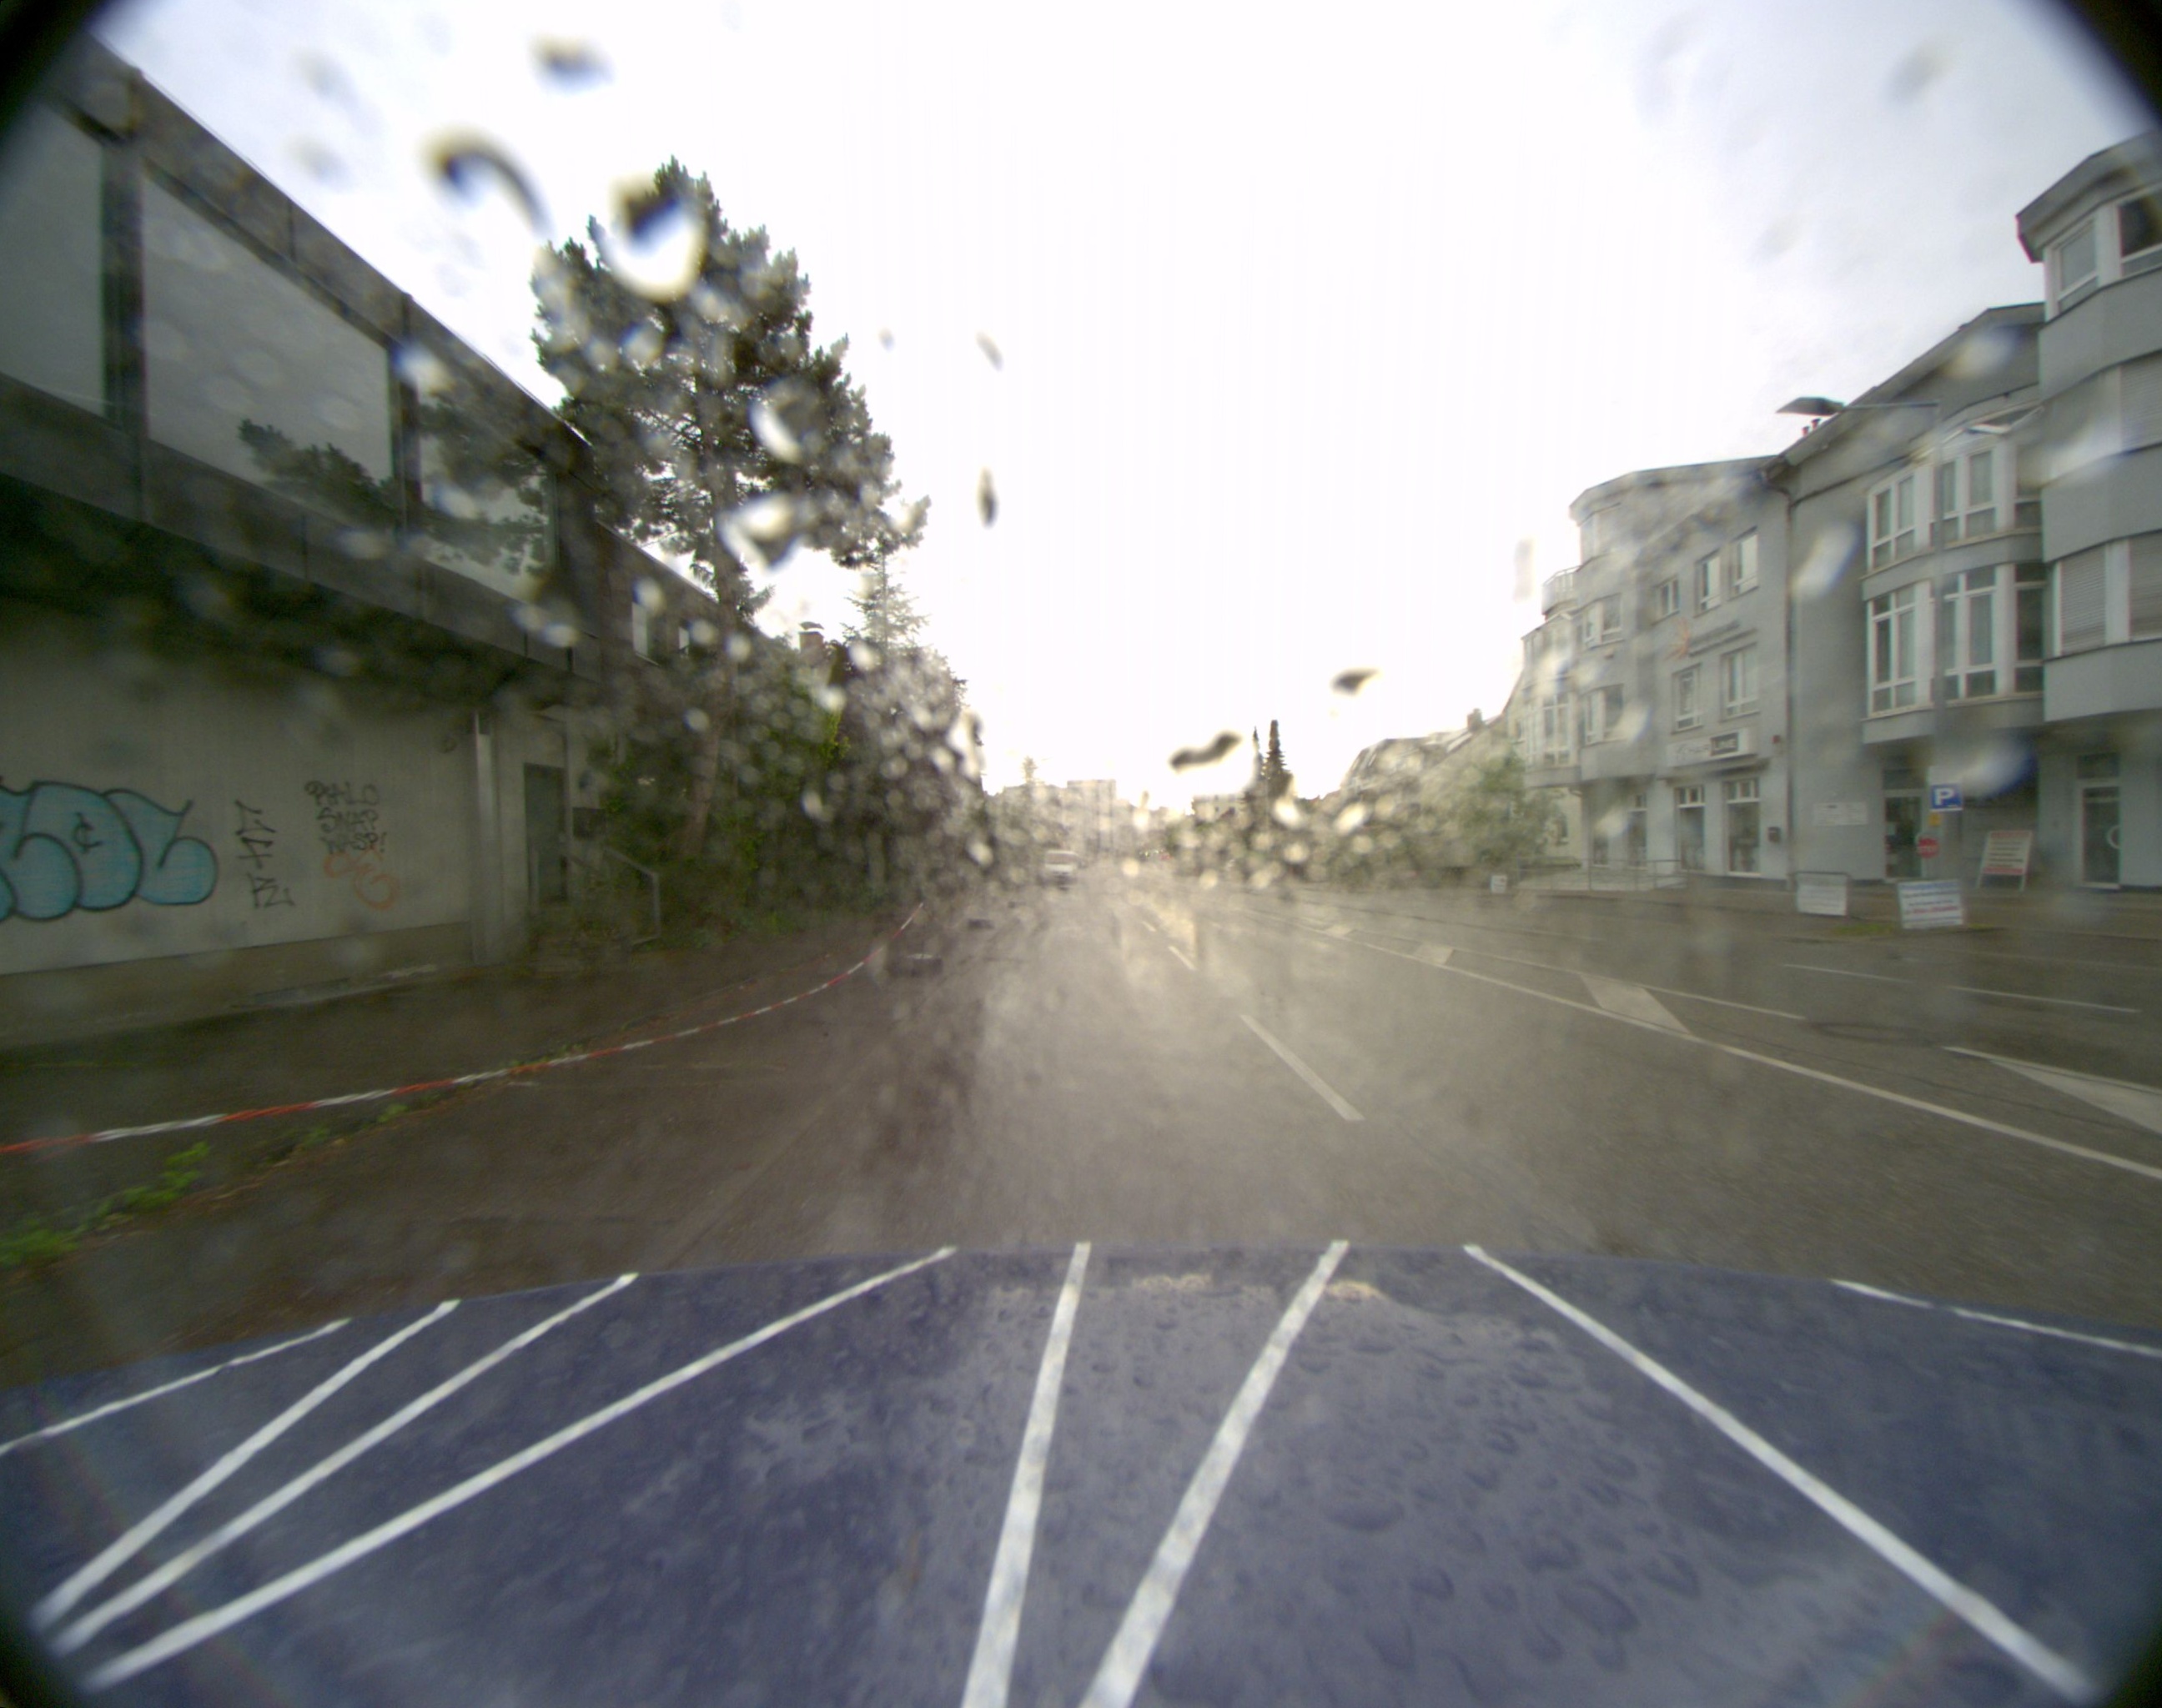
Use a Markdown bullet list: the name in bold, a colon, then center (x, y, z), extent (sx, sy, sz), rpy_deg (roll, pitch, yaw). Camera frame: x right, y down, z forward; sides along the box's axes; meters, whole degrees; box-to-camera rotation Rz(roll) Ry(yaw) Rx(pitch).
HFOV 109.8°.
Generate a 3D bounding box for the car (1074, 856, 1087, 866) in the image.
- **car**: center (-0.024, 1.208, 127.206), extent (1.912, 1.622, 3.703), rpy_deg (-1, 0, 4)

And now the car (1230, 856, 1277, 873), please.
- **car**: center (16.111, 0.957, 71.252), extent (4.034, 1.433, 1.813), rpy_deg (-3, 0, 5)

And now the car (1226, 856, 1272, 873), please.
- **car**: center (16.320, 0.979, 73.784), extent (4.155, 1.434, 1.891), rpy_deg (-3, 0, 7)

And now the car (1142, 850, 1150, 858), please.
- **car**: center (15.268, 0.059, 177.766), extent (1.851, 1.870, 4.122), rpy_deg (-1, 0, 4)

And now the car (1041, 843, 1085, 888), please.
- **car**: center (-1.011, 0.651, 44.780), extent (2.397, 2.417, 6.433), rpy_deg (0, 0, 0)

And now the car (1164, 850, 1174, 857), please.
- **car**: center (20.130, -0.149, 174.441), extent (1.997, 1.606, 4.003), rpy_deg (-1, 0, 11)

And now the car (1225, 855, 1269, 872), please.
- **car**: center (16.698, 0.916, 76.500), extent (4.114, 1.536, 2.001), rpy_deg (-3, 0, 5)

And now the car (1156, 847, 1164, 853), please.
- **car**: center (21.689, -1.131, 208.203), extent (1.850, 1.753, 4.124), rpy_deg (-1, 0, 10)
